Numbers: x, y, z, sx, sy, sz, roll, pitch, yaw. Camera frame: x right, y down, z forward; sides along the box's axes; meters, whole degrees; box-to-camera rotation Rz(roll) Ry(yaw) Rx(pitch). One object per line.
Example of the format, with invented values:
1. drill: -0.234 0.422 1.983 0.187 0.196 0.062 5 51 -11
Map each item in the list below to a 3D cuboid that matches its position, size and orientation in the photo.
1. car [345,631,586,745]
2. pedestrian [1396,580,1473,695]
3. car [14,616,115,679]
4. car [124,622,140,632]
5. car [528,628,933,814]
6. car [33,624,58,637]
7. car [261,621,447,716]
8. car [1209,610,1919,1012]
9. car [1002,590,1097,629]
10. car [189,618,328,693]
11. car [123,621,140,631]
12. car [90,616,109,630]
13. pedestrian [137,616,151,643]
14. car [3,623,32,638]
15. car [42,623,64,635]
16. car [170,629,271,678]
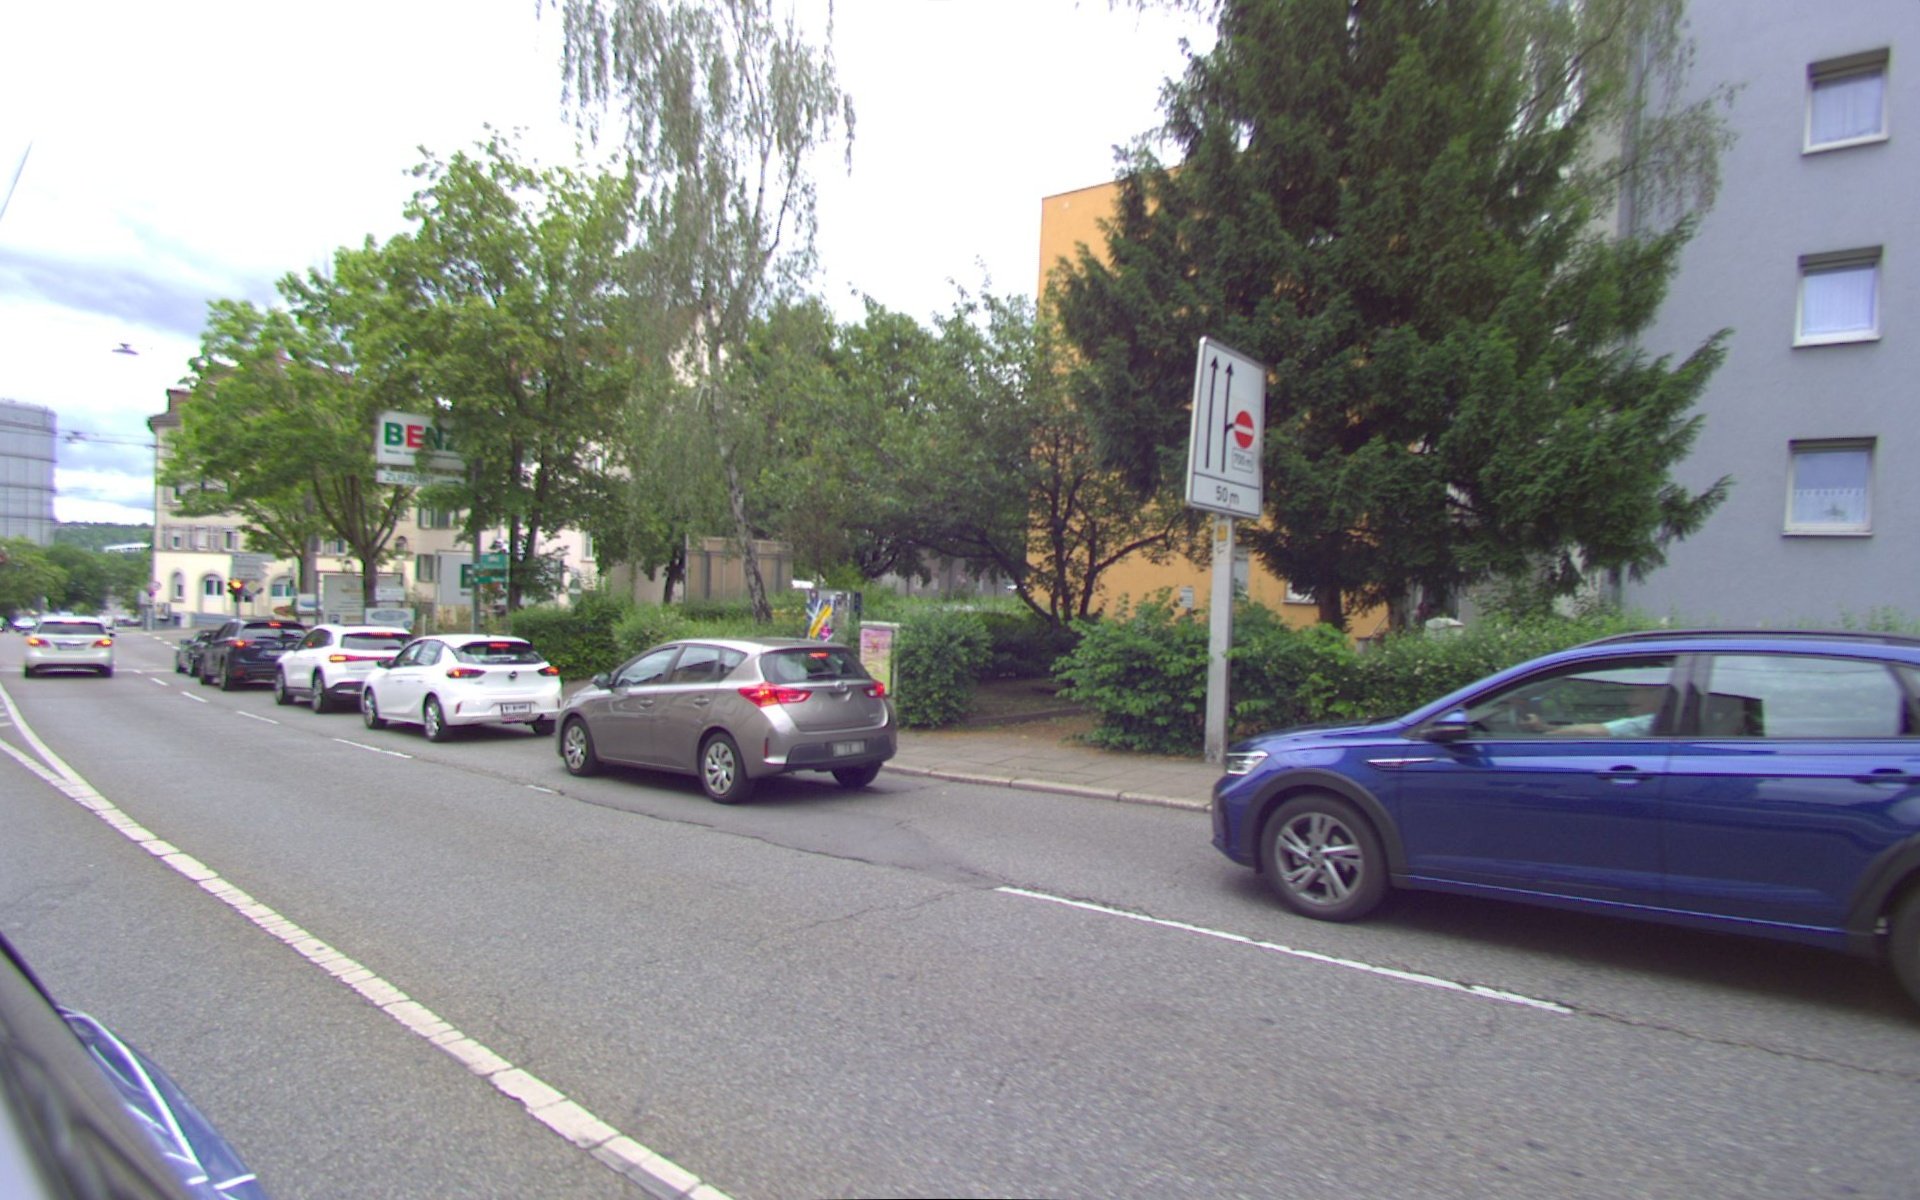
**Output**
1. car: -7.439 1.216 15.056 4.073 1.423 1.819 -1 -4 43
2. pedestrian: 7.600 0.607 16.221 0.714 1.768 0.794 1 -5 -44
3. car: -23.979 1.245 27.054 1.755 1.558 4.328 4 -4 -44
4. car: -146.219 4.714 178.697 1.967 1.612 4.009 -1 0 -36
5. car: -2.459 1.034 10.204 4.309 1.459 1.819 -1 -3 42
6. car: -116.463 3.845 128.870 1.967 1.612 4.009 -1 0 -36
7. car: -11.804 1.254 19.586 4.499 1.606 1.929 -1 -4 44
8. car: 3.574 0.803 4.831 4.309 1.459 1.819 -1 -3 42
9. car: 4.052 0.449 46.210 3.928 1.686 1.897 -1 0 41
10. car: -17.134 1.313 24.649 4.415 1.655 1.929 -1 -4 44
11. car: -139.145 4.341 170.008 1.967 1.612 4.009 -1 0 -36
12. car: -122.214 3.285 143.760 1.841 1.898 4.293 4 -3 -39
13. pedestrian: -60.103 2.139 74.539 0.735 1.951 0.905 -3 1 -38
14. car: -108.006 3.438 115.995 1.967 1.612 4.009 -1 0 -36
15. car: -129.411 4.119 144.450 1.967 1.612 4.009 -1 0 -36
16. car: -21.520 1.536 29.372 1.780 1.291 4.240 4 -4 -44
